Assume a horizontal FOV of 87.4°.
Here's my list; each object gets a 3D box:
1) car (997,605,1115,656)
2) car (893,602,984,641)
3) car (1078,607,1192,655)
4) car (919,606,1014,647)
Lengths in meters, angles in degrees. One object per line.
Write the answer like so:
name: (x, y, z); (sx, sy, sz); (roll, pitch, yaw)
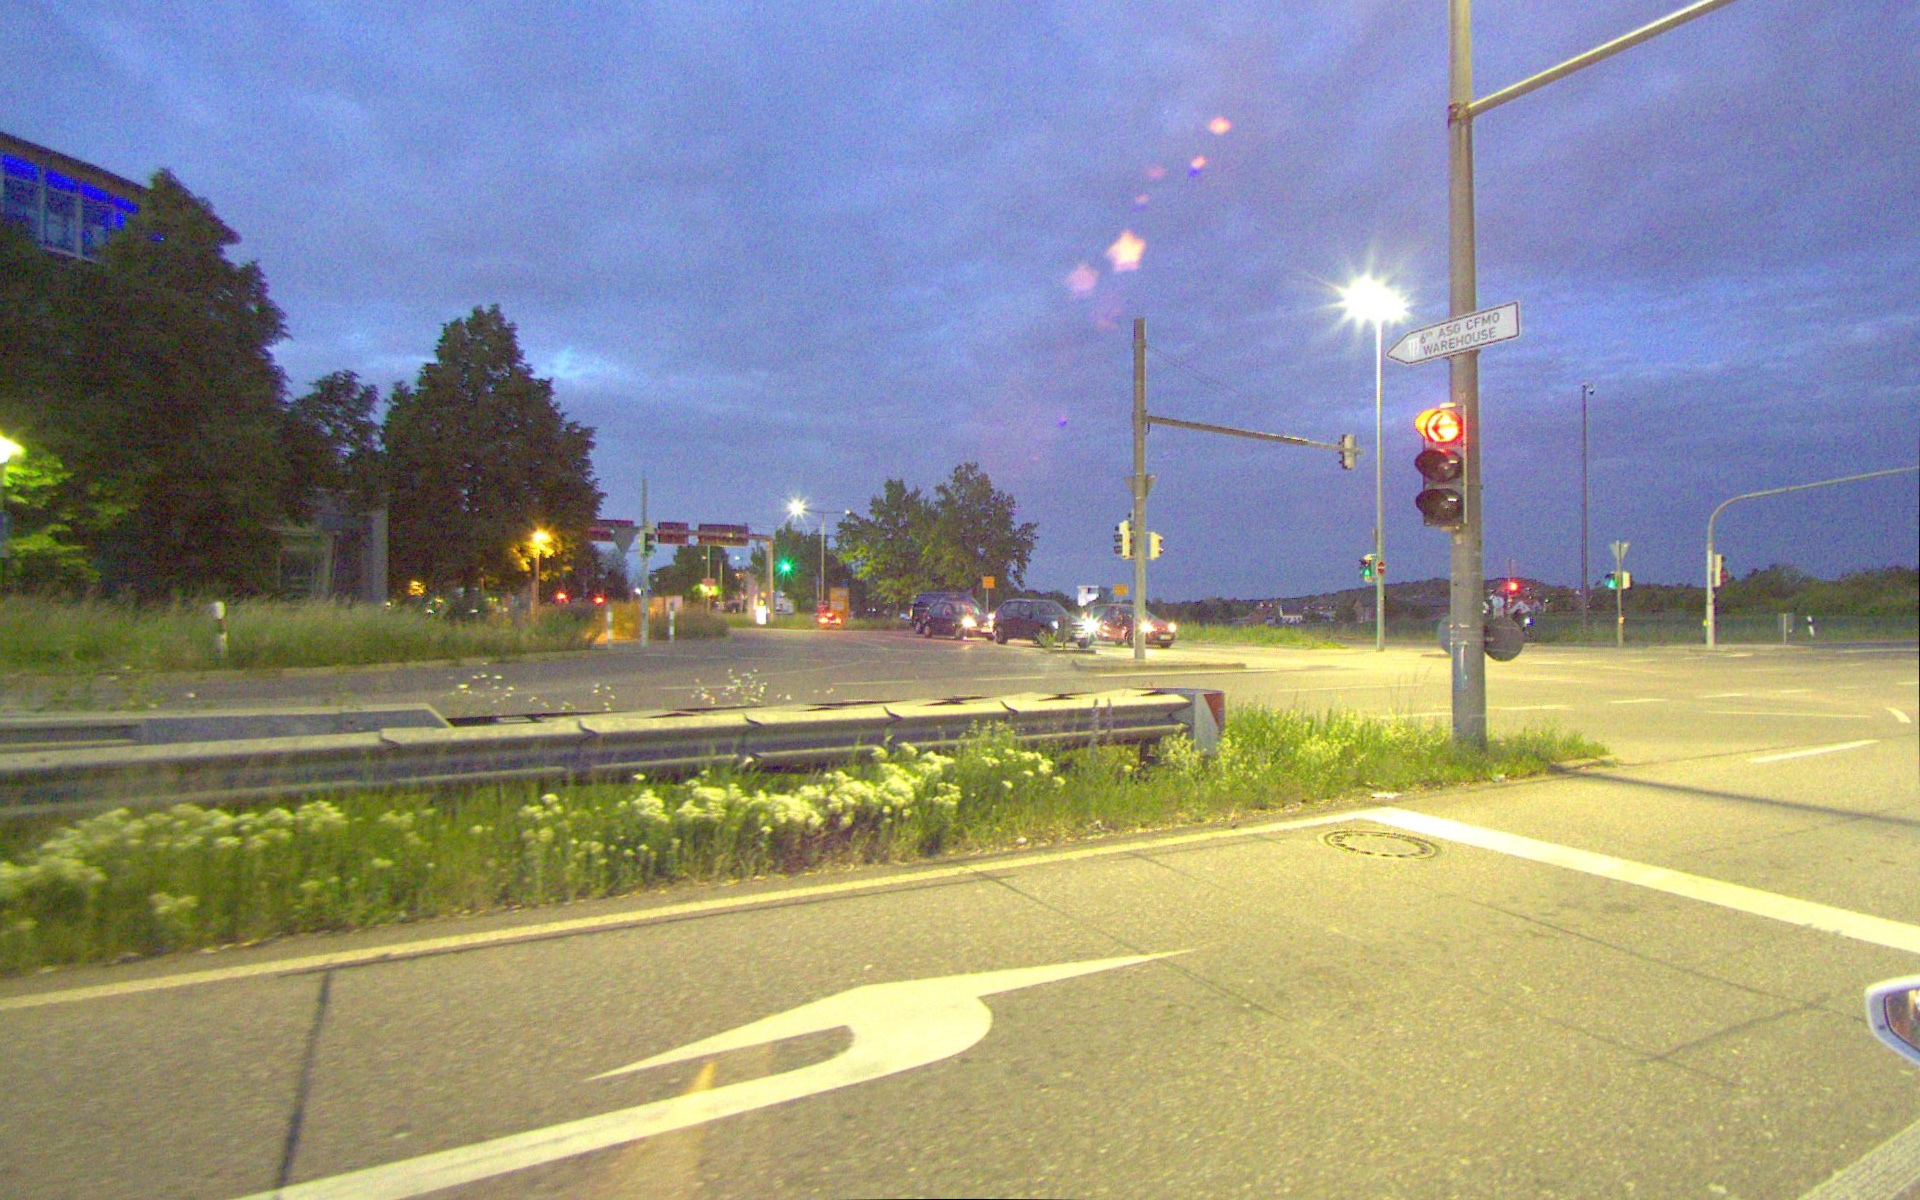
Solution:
car: (3.117, 0.996, 33.490); (1.710, 1.558, 4.292); (1, -1, -31)
car: (-1.062, 1.005, 47.508); (2.188, 1.716, 4.562); (1, -1, -34)
car: (6.058, 1.054, 35.146); (1.711, 1.558, 4.018); (1, -1, -32)
car: (0.214, 1.024, 38.958); (1.712, 1.493, 3.960); (2, -2, -35)
